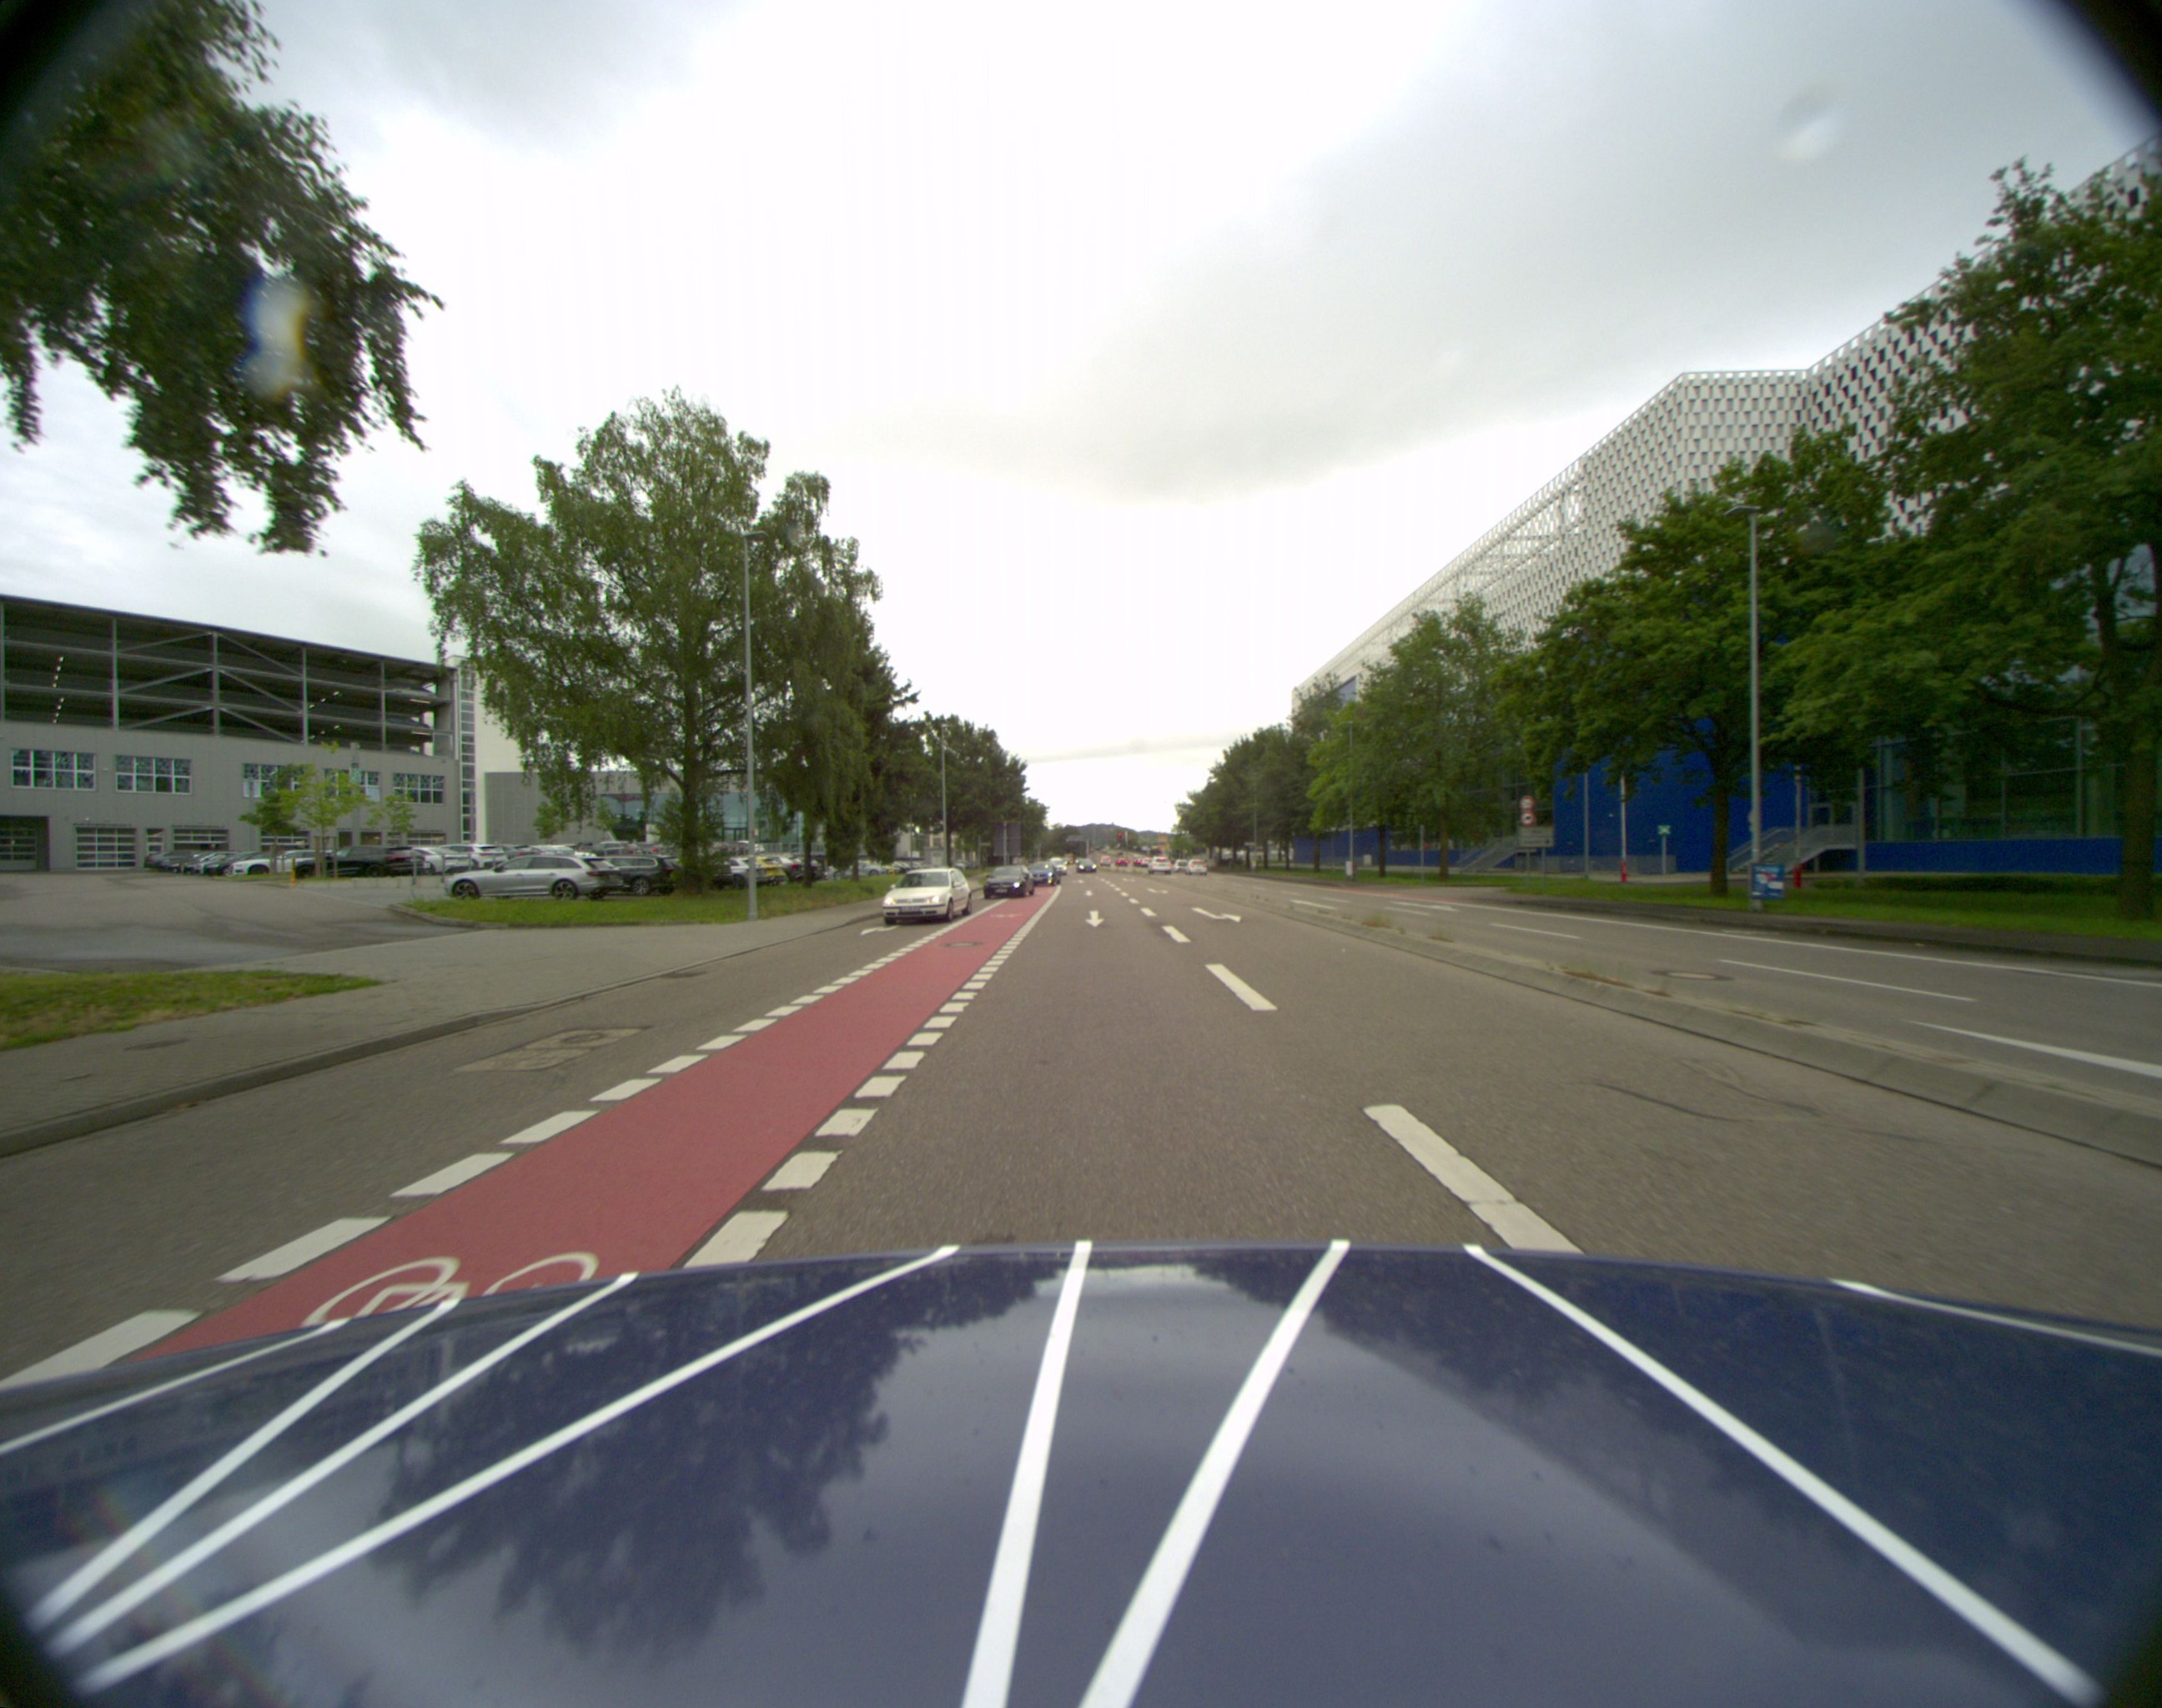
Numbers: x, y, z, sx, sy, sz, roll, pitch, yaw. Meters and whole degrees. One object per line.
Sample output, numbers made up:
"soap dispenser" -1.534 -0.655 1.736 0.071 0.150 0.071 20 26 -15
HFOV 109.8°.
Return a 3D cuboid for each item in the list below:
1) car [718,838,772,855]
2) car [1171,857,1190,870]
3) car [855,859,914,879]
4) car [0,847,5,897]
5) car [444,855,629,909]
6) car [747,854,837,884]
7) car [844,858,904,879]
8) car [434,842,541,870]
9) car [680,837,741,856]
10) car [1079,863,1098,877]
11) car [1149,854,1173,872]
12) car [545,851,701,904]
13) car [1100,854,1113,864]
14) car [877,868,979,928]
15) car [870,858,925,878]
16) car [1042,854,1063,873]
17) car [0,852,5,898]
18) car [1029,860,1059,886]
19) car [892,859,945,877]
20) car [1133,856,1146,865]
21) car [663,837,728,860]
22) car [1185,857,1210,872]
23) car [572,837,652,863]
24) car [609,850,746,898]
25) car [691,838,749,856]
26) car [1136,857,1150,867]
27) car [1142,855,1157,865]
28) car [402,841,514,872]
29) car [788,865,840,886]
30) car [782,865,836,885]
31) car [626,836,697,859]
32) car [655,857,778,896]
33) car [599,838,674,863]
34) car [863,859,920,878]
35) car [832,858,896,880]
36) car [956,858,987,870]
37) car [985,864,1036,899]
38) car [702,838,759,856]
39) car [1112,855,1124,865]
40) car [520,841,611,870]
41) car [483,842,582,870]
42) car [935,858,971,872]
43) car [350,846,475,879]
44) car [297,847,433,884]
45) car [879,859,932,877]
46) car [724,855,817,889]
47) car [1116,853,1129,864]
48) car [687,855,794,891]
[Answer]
"car" -32.474 -0.702 73.470 4.309 1.355 1.832 -3 0 -1
"car" 10.927 1.000 83.531 1.628 1.414 3.611 1 0 0
"car" -15.903 1.173 61.649 4.308 1.350 1.739 -3 0 0
"car" -39.244 0.710 25.028 1.964 1.680 4.319 -3 0 35
"car" -16.593 0.823 23.331 4.310 1.480 1.739 -1 0 -5
"car" -15.434 0.806 40.755 4.002 1.345 1.902 -3 0 2
"car" -16.133 1.092 59.378 4.056 1.369 1.795 -3 0 1
"car" -32.574 0.096 41.797 4.309 1.240 1.832 -3 0 -1
"car" -31.861 -0.622 65.443 4.309 1.355 1.832 -3 0 -1
"car" 0.756 1.638 79.005 1.836 1.415 4.000 -2 0 1
"car" 7.710 0.853 73.459 1.822 1.577 4.513 1 0 0
"car" -16.383 0.811 27.349 4.309 1.591 1.969 -3 0 -1
"car" 4.446 0.903 132.129 1.651 1.787 3.979 1 0 -6
"car" -4.112 1.150 21.077 1.725 1.415 3.942 -2 0 5
"car" -16.083 1.226 66.792 4.308 1.436 1.844 -3 0 0
"car" -2.874 0.903 76.093 1.995 1.838 4.103 0 0 -2
"car" -41.436 0.864 26.570 1.964 1.651 4.319 -3 0 35
"car" -2.443 1.205 49.382 1.788 1.637 3.998 0 0 -5
"car" -15.907 1.346 74.542 4.763 1.416 1.902 -3 0 0
"car" 11.162 1.233 145.068 1.651 1.787 3.979 2 0 -6
"car" -31.831 -0.462 62.802 4.307 1.582 1.896 -3 0 2
"car" 11.062 1.009 72.526 1.681 1.420 3.650 1 0 -2
"car" -32.329 -0.235 52.449 4.309 1.518 1.859 -3 0 -1
"car" -15.873 0.756 30.043 4.308 1.591 1.969 -3 0 2
"car" -32.352 -0.628 68.185 4.309 1.355 1.832 -3 0 -1
"car" 11.040 1.443 135.051 1.651 1.787 3.979 2 0 -6
"car" 11.597 1.030 128.834 1.728 1.602 3.979 2 0 -6
"car" -32.381 0.131 39.579 4.309 1.374 1.700 -3 0 -1
"car" -26.215 2.115 74.695 4.308 1.591 1.902 -5 -2 -1
"car" -25.828 1.986 72.178 4.308 1.591 1.972 -5 -1 1
"car" -31.793 -0.460 57.683 4.309 1.503 1.832 -3 0 -1
"car" -15.570 0.937 32.615 4.308 1.374 1.902 -3 0 2
"car" -32.225 -0.250 55.149 4.309 1.516 1.832 -3 0 -1
"car" -16.021 1.233 64.425 4.308 1.370 1.838 -3 0 0
"car" -16.241 1.101 56.957 4.198 1.423 1.739 -3 0 0
"car" -15.020 1.389 104.358 4.040 1.384 1.727 -3 0 0
"car" -3.112 1.191 34.399 1.836 1.415 4.000 -2 0 1
"car" -32.567 -0.655 70.693 4.309 1.355 1.832 -3 0 -1
"car" 7.171 1.112 147.482 1.651 1.787 3.979 2 0 -6
"car" -32.078 0.106 47.378 4.309 1.526 1.832 -3 0 -1
"car" -31.669 0.117 43.932 4.309 1.364 1.832 -3 0 -1
"car" -15.386 1.348 91.487 4.040 1.384 1.727 -3 0 0
"car" -32.249 0.413 36.758 4.309 1.282 1.832 -3 0 -1
"car" -32.237 0.503 34.296 4.309 1.365 1.832 -3 0 -1
"car" -16.022 1.260 69.443 4.308 1.436 1.844 -3 0 0
"car" -15.406 0.873 37.874 3.761 1.415 1.953 -3 0 0
"car" 7.547 0.787 137.963 1.651 1.788 3.979 -4 1 -6
"car" -15.626 0.848 34.985 4.004 1.371 1.811 -3 0 3
